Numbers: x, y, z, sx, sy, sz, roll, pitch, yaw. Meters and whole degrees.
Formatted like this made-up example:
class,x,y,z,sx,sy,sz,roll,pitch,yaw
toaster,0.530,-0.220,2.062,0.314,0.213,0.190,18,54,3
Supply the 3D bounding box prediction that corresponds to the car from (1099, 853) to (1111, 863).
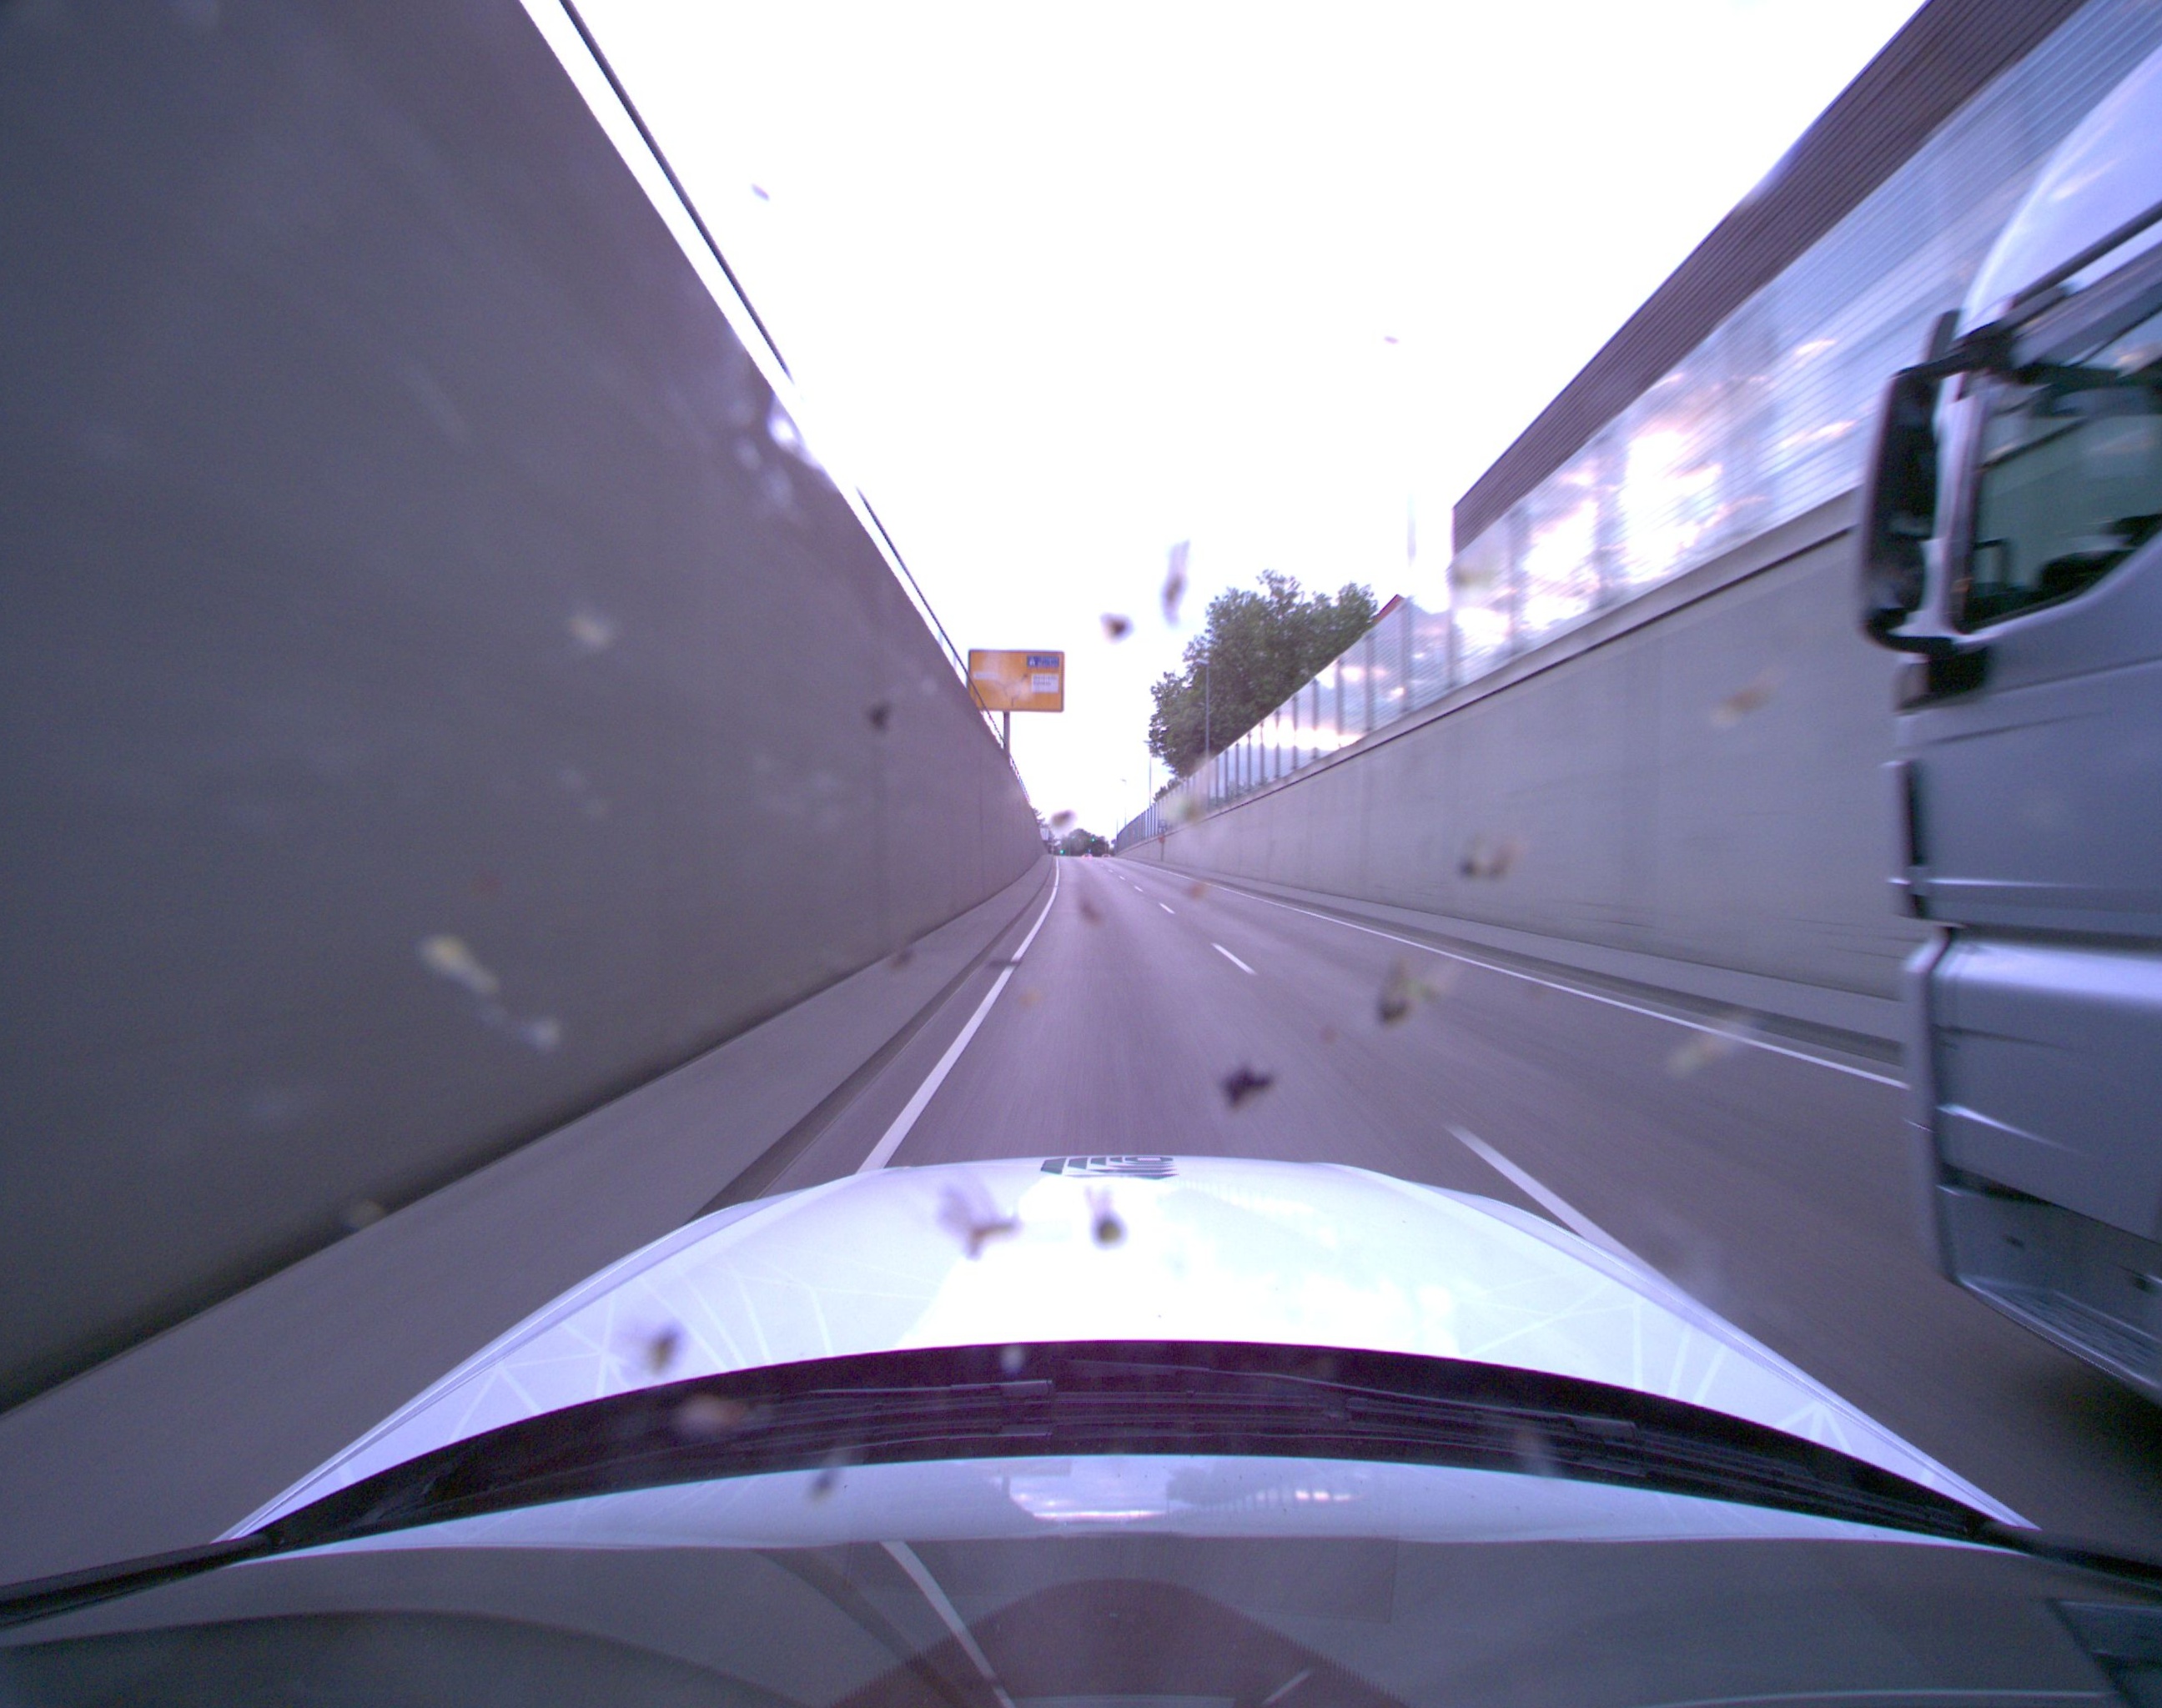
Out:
class,x,y,z,sx,sy,sz,roll,pitch,yaw
car,4.541,0.726,152.802,1.865,1.732,3.995,0,-1,-3
